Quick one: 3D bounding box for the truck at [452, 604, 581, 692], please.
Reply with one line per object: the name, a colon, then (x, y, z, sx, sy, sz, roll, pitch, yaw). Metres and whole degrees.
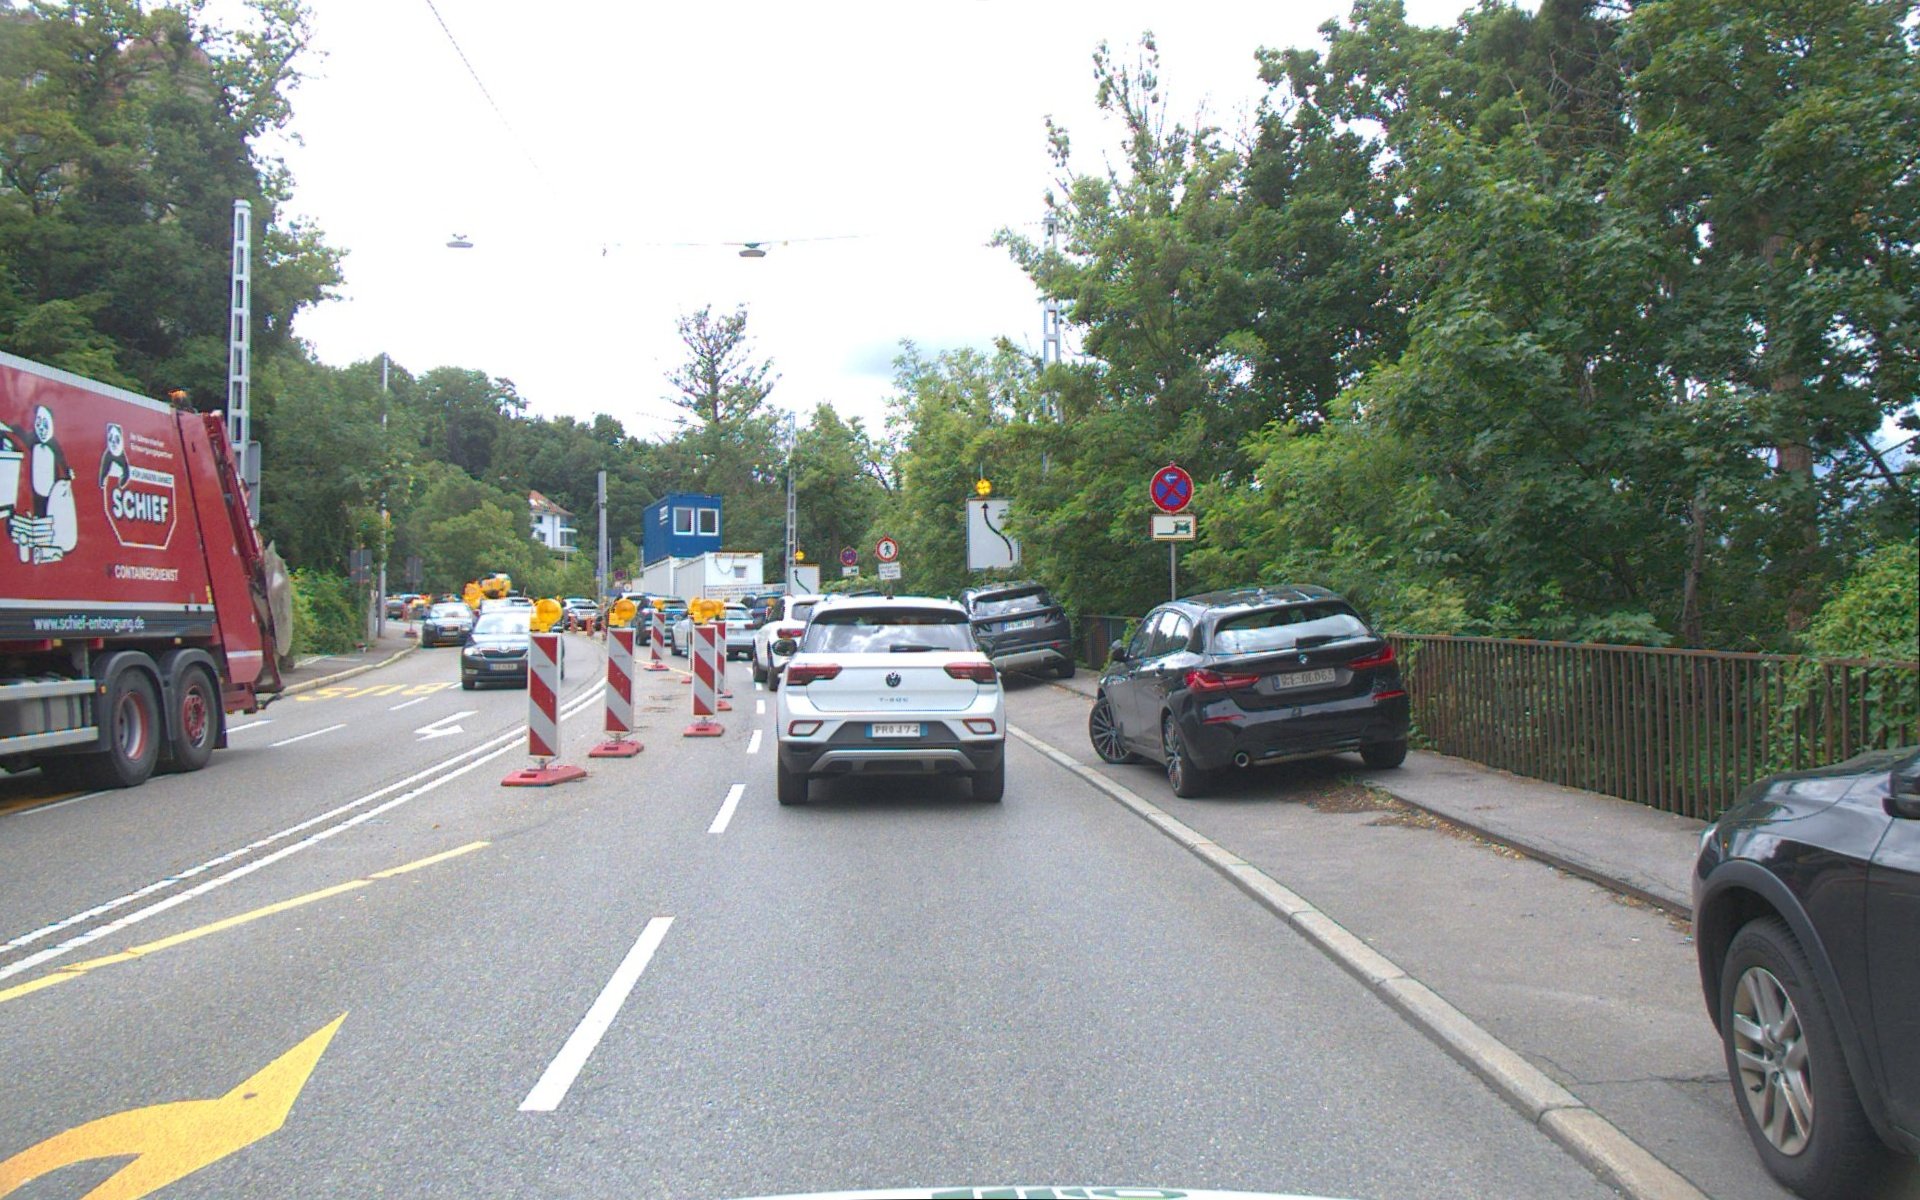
truck: (-8.315, 0.853, 31.306, 1.630, 1.468, 4.022, -2, 0, -5)

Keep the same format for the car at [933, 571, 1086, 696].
car: (0.750, 0.514, 28.006, 1.816, 1.684, 4.136, -9, 1, -6)

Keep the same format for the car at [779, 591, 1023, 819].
car: (-0.594, 0.740, 13.627, 1.724, 1.583, 3.791, -1, 0, -6)

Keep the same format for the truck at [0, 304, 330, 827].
truck: (-8.446, -0.201, 13.887, 2.887, 3.762, 9.911, -3, 0, -4)

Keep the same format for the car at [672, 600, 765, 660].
car: (-6.417, 0.765, 43.683, 1.731, 1.497, 3.774, -1, 0, -19)

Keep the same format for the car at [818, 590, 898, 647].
car: (-3.116, 0.553, 49.894, 1.687, 1.544, 3.646, -4, 0, -14)

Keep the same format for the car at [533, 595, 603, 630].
car: (-18.110, 0.582, 76.366, 1.974, 1.475, 4.106, -2, -1, -31)

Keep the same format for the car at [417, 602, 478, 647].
car: (-17.284, 0.800, 55.917, 1.865, 1.406, 3.982, -2, 0, -16)

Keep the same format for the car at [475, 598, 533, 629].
car: (-24.017, 0.724, 87.032, 1.973, 1.475, 4.108, -2, -1, -30)

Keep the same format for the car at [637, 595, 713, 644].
car: (-9.364, 0.657, 54.154, 1.962, 1.439, 4.131, -2, -1, -17)

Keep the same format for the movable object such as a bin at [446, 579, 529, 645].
movable object such as a bin: (-29.011, 0.732, 101.340, 3.490, 3.764, 7.428, -2, 0, -27)

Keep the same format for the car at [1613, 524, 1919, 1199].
car: (2.799, 0.568, 2.580, 1.730, 1.548, 4.394, -5, 0, 0)

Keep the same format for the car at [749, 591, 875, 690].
car: (-2.714, 0.682, 29.677, 1.728, 1.638, 3.782, -1, 0, -13)

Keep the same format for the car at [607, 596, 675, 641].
car: (-12.161, 0.675, 62.936, 1.964, 1.583, 4.127, -1, 1, -19)

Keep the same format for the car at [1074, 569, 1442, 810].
car: (2.264, 0.622, 13.768, 1.774, 1.488, 4.188, -7, 1, -6)
